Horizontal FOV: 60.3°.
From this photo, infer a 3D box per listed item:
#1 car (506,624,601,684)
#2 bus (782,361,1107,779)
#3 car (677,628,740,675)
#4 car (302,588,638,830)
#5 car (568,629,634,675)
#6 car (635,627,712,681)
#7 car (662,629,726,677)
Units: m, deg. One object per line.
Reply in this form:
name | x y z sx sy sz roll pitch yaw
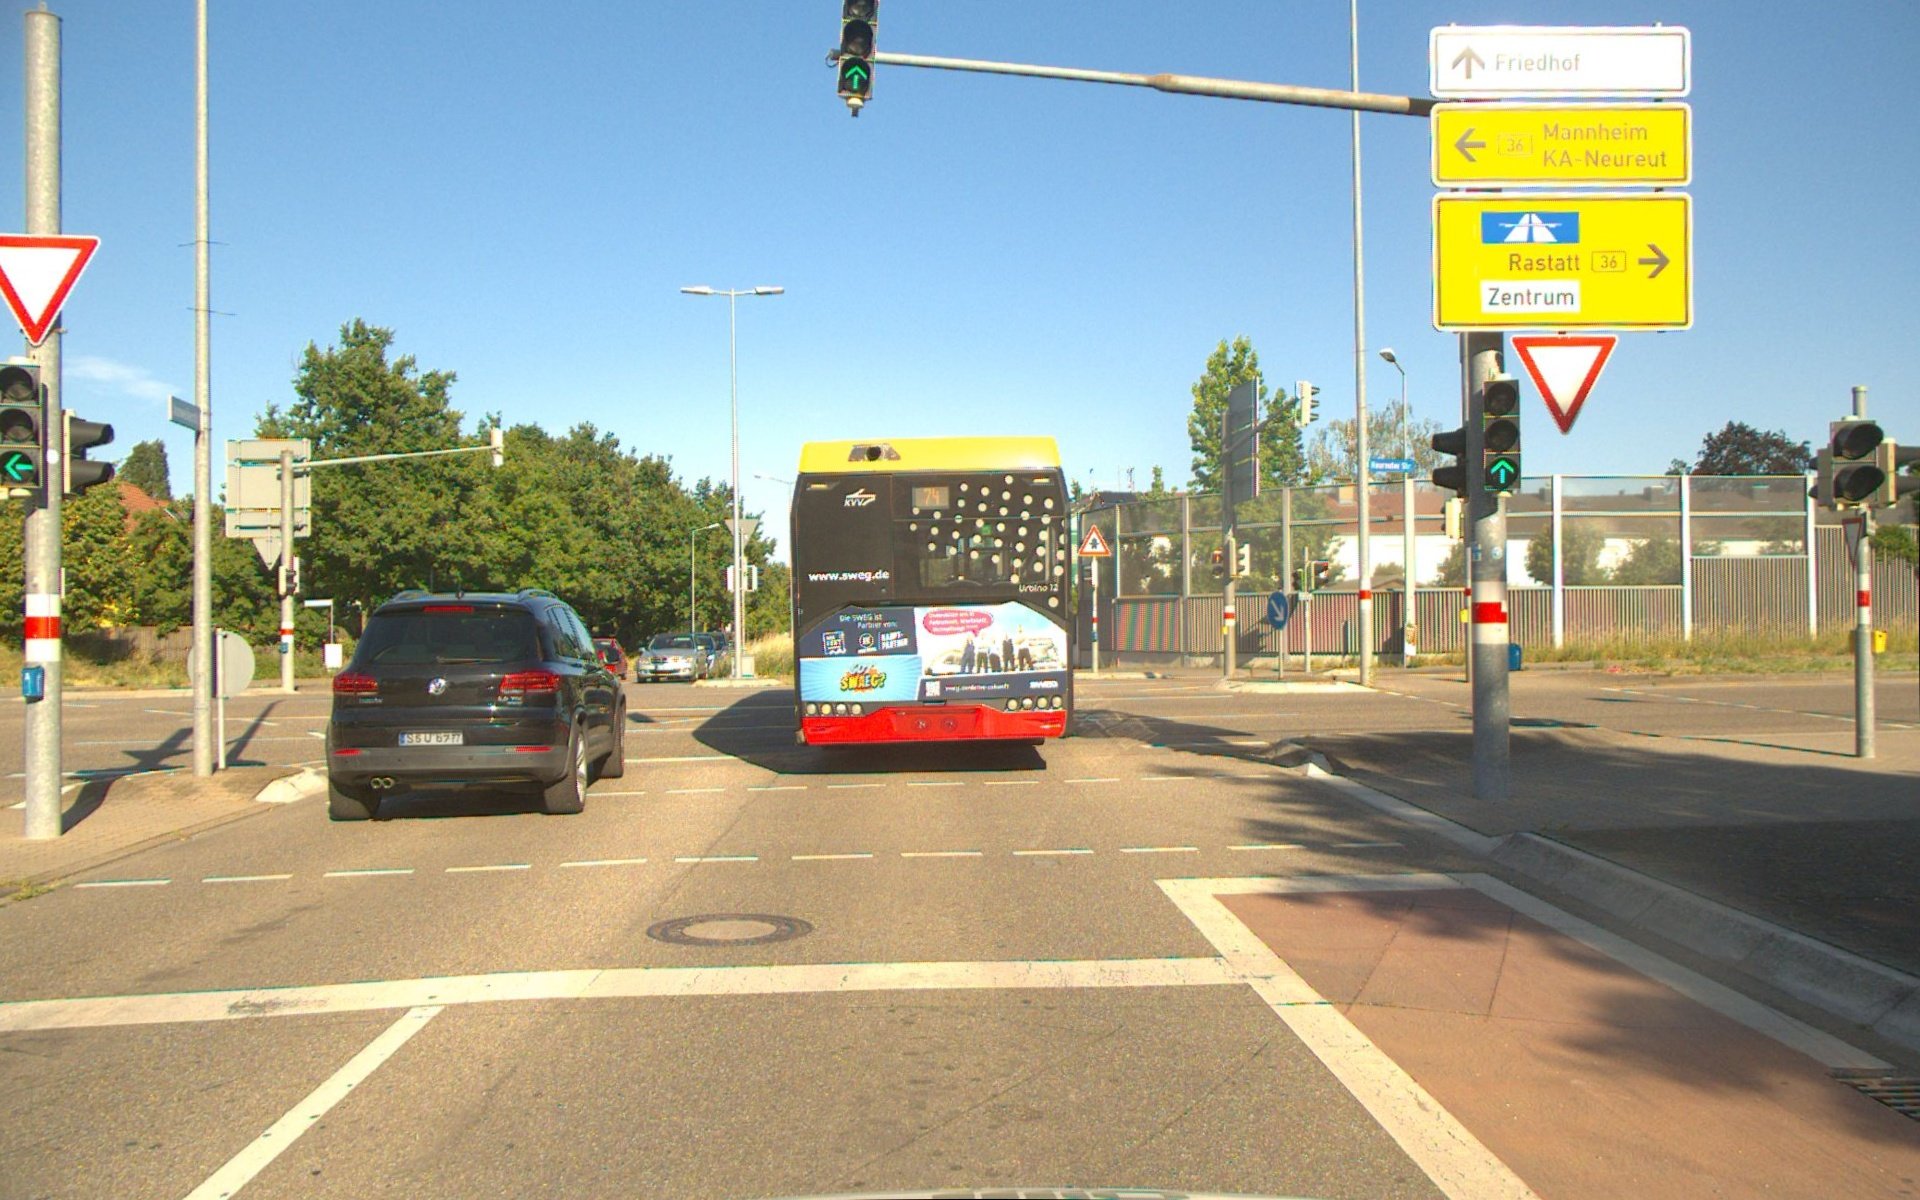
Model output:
car | -12.193 1.612 49.898 1.954 1.673 4.527 -1 -1 -3
bus | -0.426 -0.245 20.358 2.702 3.518 12.390 -1 0 -3
car | -9.446 1.913 62.306 1.954 1.644 4.526 -1 -1 -4
car | -3.777 0.766 13.452 1.791 1.656 3.996 0 0 -4
car | -12.302 1.769 56.819 1.613 1.509 3.710 -1 -1 -3
car | -8.581 1.607 49.923 1.758 1.532 4.527 -1 -1 -3
car | -8.969 1.773 55.933 1.712 1.509 3.885 -1 -1 -3
